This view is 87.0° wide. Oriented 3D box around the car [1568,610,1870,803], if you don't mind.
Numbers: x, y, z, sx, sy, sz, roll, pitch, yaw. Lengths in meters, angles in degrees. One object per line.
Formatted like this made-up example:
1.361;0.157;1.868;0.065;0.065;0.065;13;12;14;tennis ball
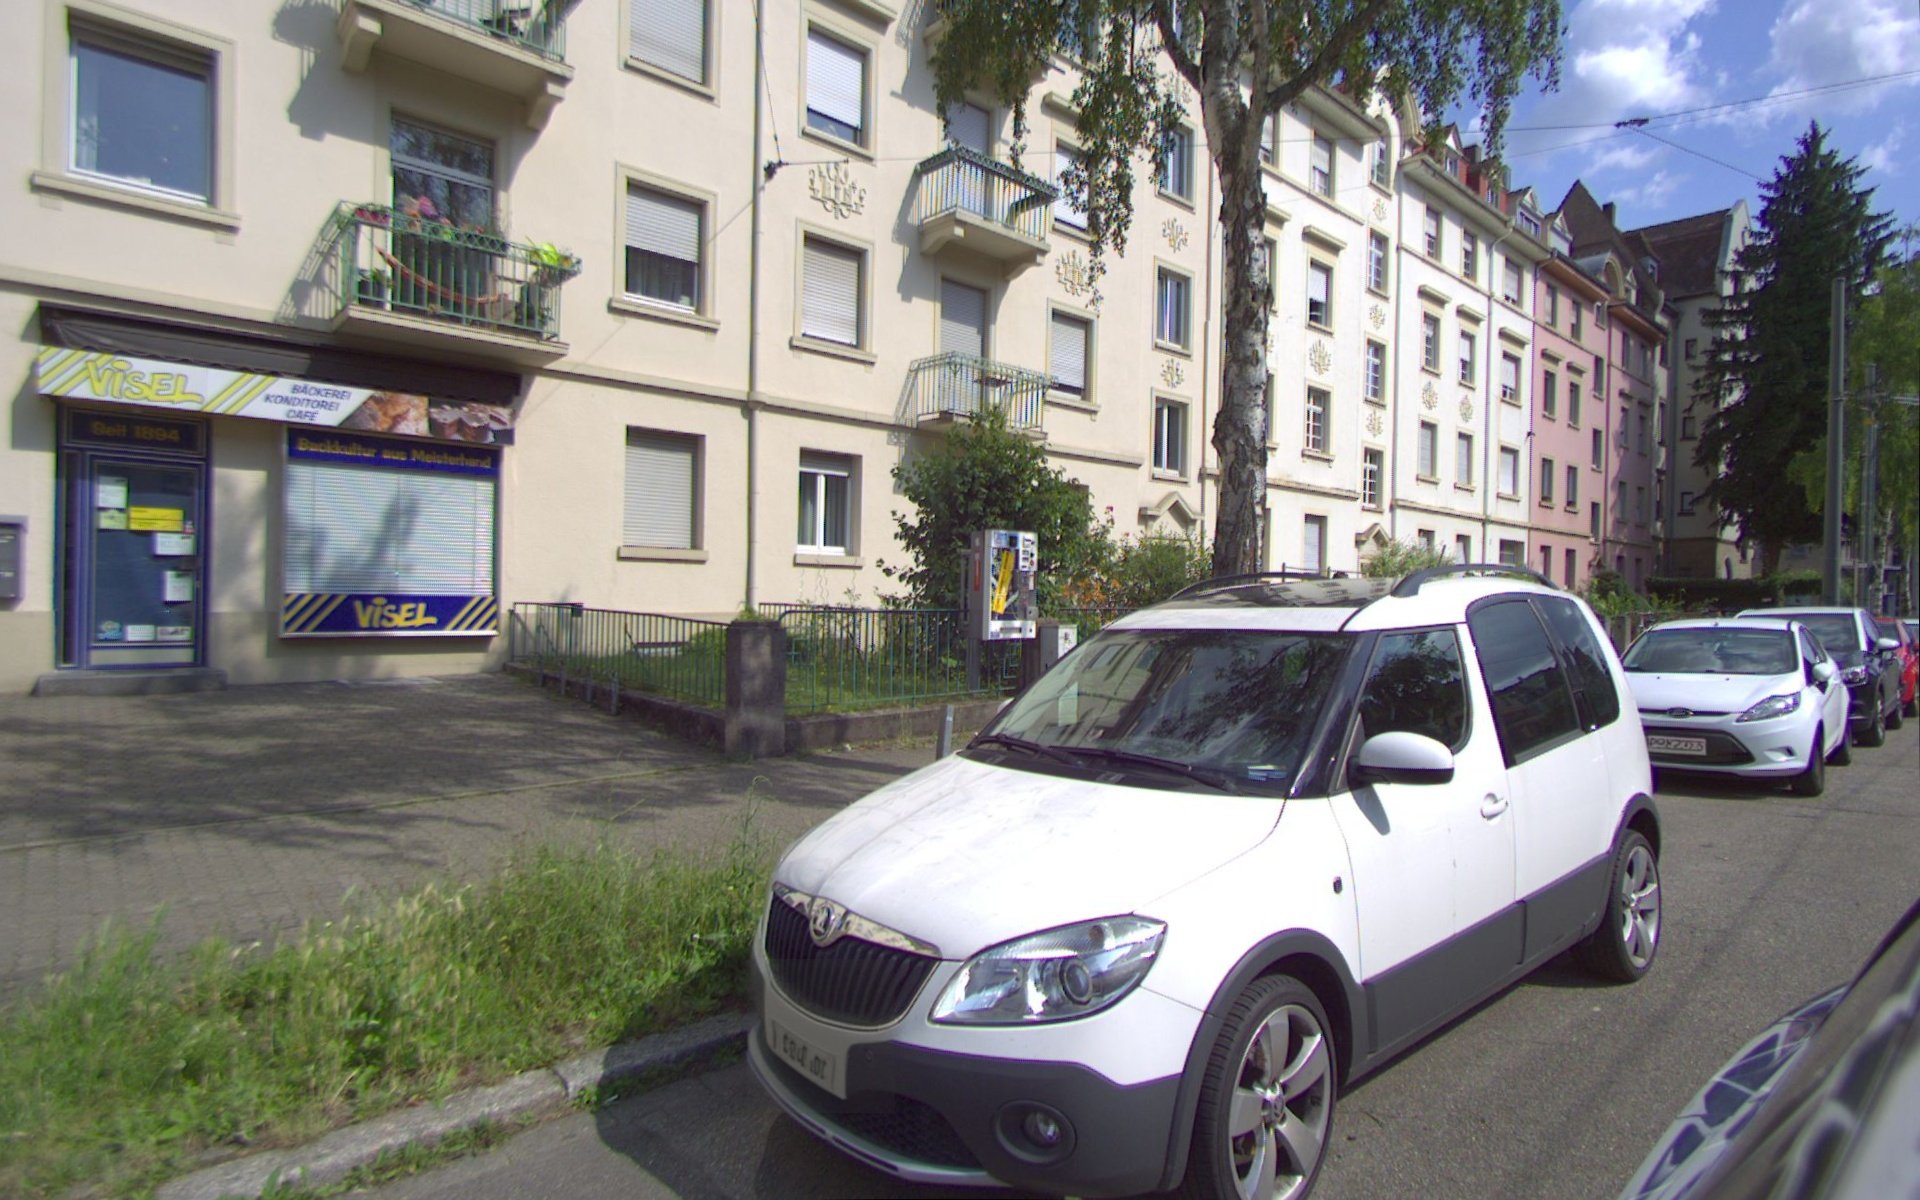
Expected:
7.256;0.837;9.544;3.732;1.435;1.673;0;-2;-44;car

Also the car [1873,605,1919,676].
22.774;0.896;23.586;4.449;1.540;1.793;1;-2;-43;car

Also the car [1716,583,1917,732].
10.801;0.637;12.680;3.696;1.599;1.494;0;-2;-43;car

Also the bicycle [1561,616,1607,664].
12.876;0.806;20.854;1.558;0.950;0.388;1;0;-43;bicycle

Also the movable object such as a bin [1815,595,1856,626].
44.670;0.550;51.617;1.965;1.511;1.304;1;1;-41;movable object such as a bin

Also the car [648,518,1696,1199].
1.072;0.696;3.759;3.928;1.650;1.724;0;-1;-39;car

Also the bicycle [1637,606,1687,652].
17.232;0.695;24.822;2.144;1.091;0.472;1;1;-41;bicycle

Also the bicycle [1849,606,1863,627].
45.498;0.824;51.393;1.456;1.034;0.350;1;3;-43;bicycle

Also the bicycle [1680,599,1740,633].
28.604;0.615;38.635;0.414;1.235;1.775;1;1;-42;bicycle

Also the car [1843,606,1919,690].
18.054;0.853;19.075;3.851;1.471;1.621;0;-3;-42;car

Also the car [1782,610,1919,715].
14.515;0.924;16.116;3.778;1.471;1.590;0;-3;-42;car

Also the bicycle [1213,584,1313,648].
6.381;0.316;21.397;0.661;1.267;1.975;1;0;-43;bicycle

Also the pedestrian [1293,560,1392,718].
4.337;0.418;11.490;0.678;1.703;0.732;1;2;-38;pedestrian
